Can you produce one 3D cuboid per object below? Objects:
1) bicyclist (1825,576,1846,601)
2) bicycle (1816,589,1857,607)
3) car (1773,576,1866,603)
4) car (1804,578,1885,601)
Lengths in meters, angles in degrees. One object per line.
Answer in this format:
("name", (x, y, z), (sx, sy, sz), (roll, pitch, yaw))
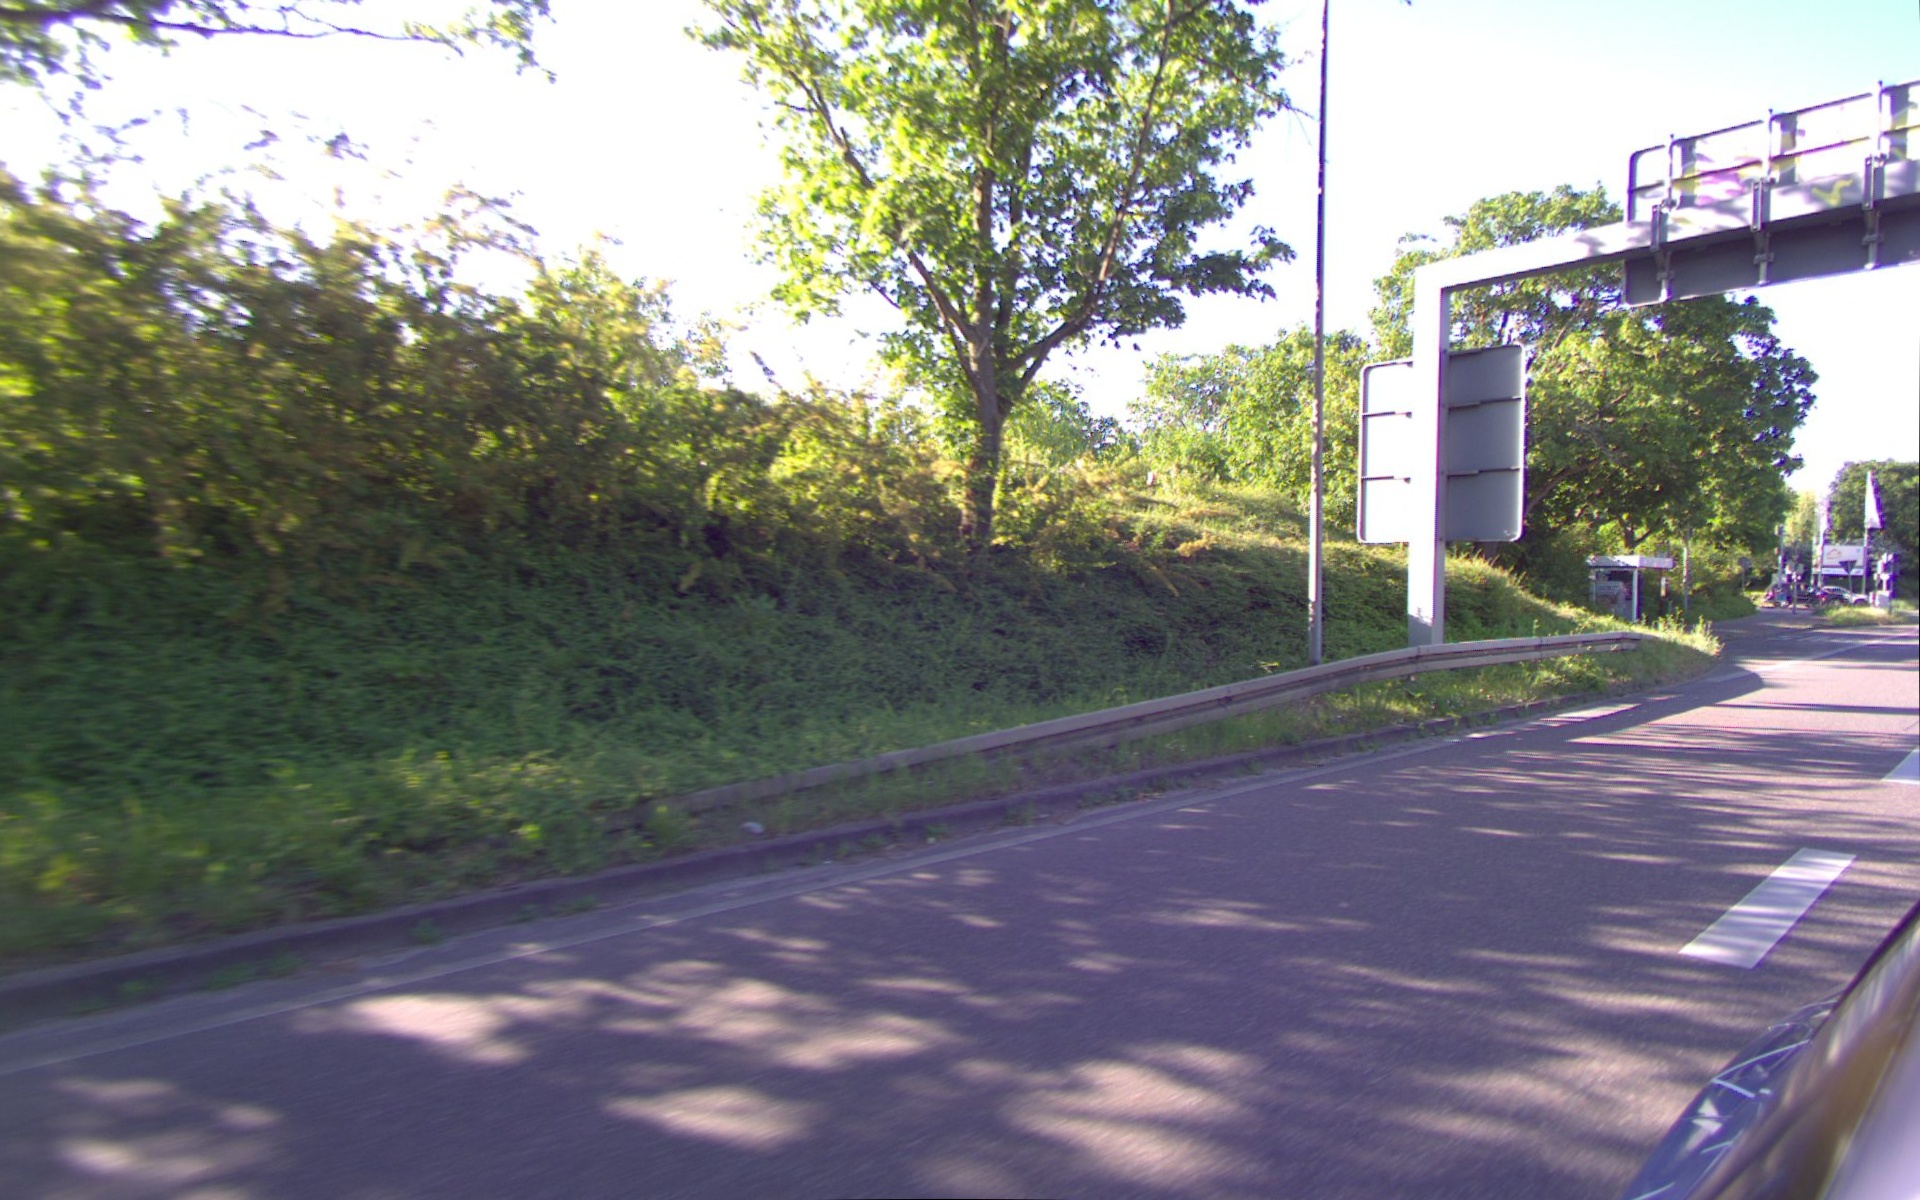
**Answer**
("bicyclist", (58.156, -0.768, 67.252), (0.976, 1.577, 0.751), (3, 2, 39))
("bicycle", (58.211, -0.136, 67.225), (2.005, 1.105, 0.755), (3, 2, 39))
("car", (59.659, -0.734, 70.328), (4.617, 1.748, 1.887), (2, 1, 32))
("car", (63.252, -0.757, 72.434), (4.058, 1.558, 1.754), (2, 1, 31))
